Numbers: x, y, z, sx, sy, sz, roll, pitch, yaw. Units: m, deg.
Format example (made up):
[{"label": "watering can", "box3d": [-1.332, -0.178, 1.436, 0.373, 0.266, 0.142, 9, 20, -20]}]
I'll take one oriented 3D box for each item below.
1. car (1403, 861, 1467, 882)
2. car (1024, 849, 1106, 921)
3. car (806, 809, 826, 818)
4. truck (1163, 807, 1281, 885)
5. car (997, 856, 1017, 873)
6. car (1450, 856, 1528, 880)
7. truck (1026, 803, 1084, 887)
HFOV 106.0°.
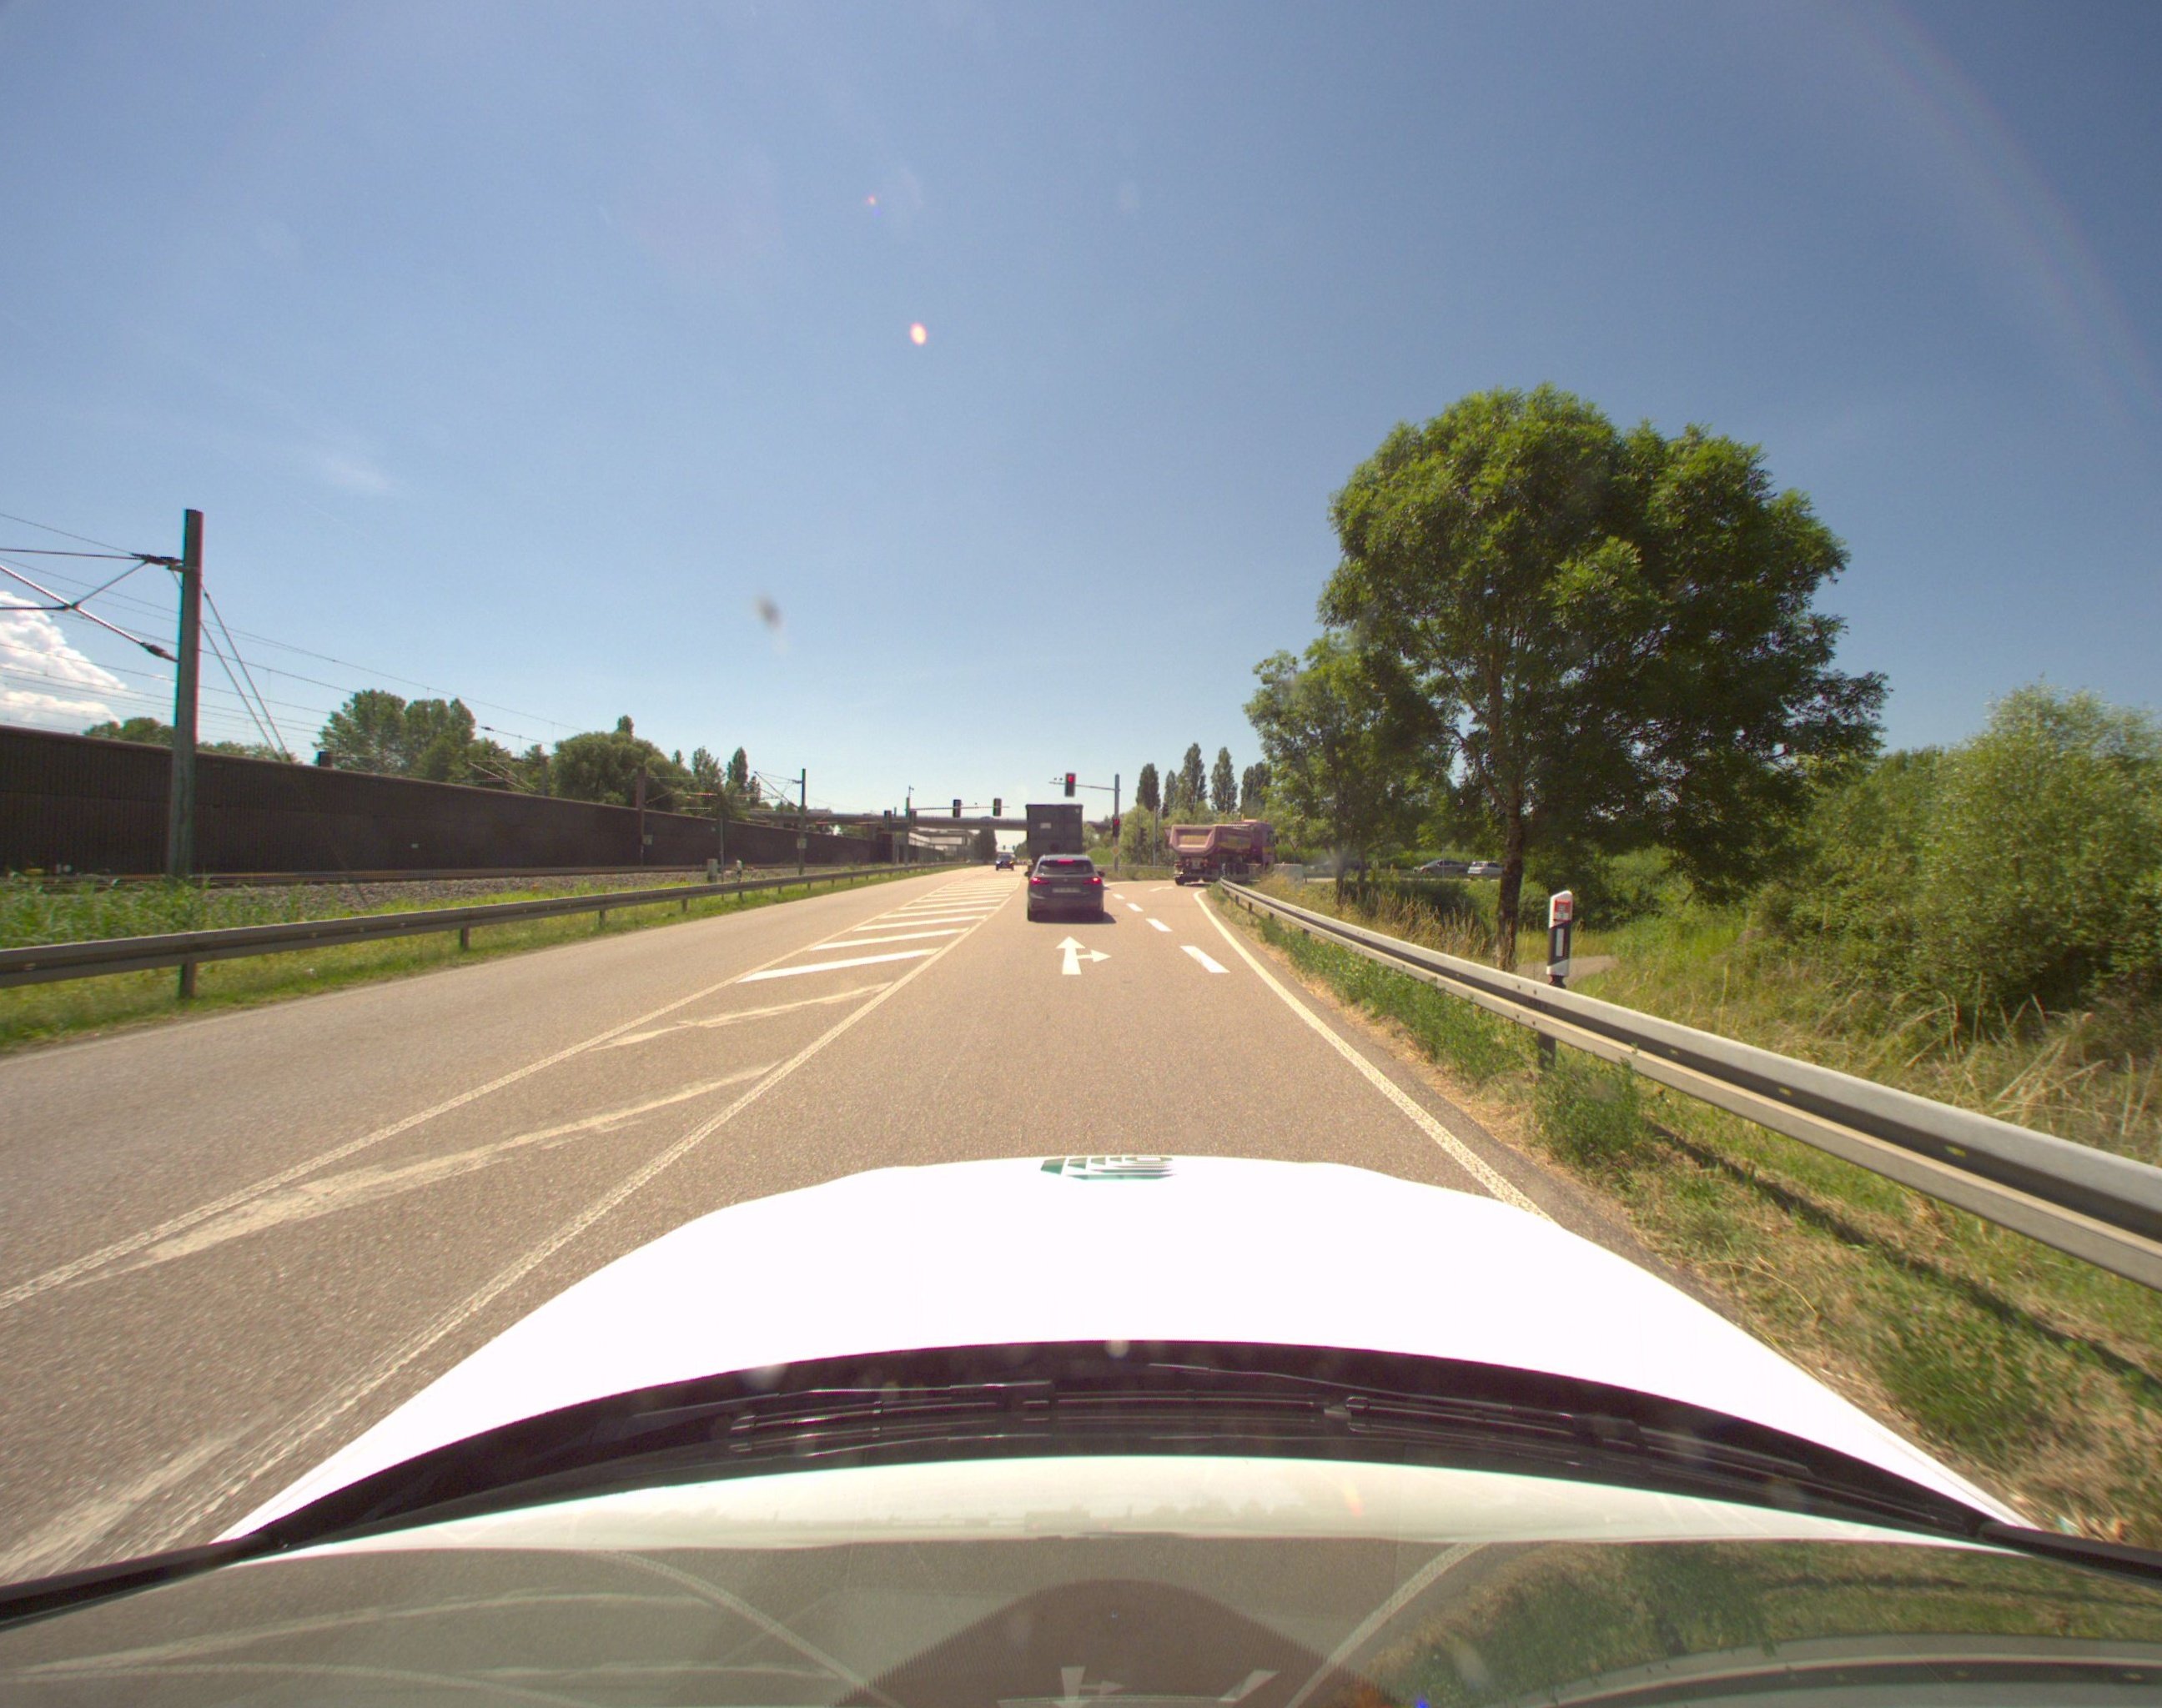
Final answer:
[{"label": "car", "box3d": [27.819, 1.359, 64.097, 4.214, 1.632, 1.932, 0, 0, -3]}, {"label": "car", "box3d": [-0.345, 0.709, 20.509, 1.838, 1.623, 4.225, 0, 0, 0]}, {"label": "car", "box3d": [-62.171, -9.589, 191.173, 3.979, 2.014, 1.997, 0, 0, -4]}, {"label": "truck", "box3d": [8.274, -0.359, 45.873, 2.806, 3.821, 11.957, 0, 0, 29]}, {"label": "car", "box3d": [-8.002, 1.114, 88.130, 1.922, 1.767, 4.594, 1, 0, -2]}, {"label": "car", "box3d": [28.688, 0.955, 57.349, 4.646, 1.632, 1.928, 0, 0, -8]}, {"label": "truck", "box3d": [-1.379, -0.425, 41.124, 2.583, 3.737, 9.566, 0, 0, -3]}]
